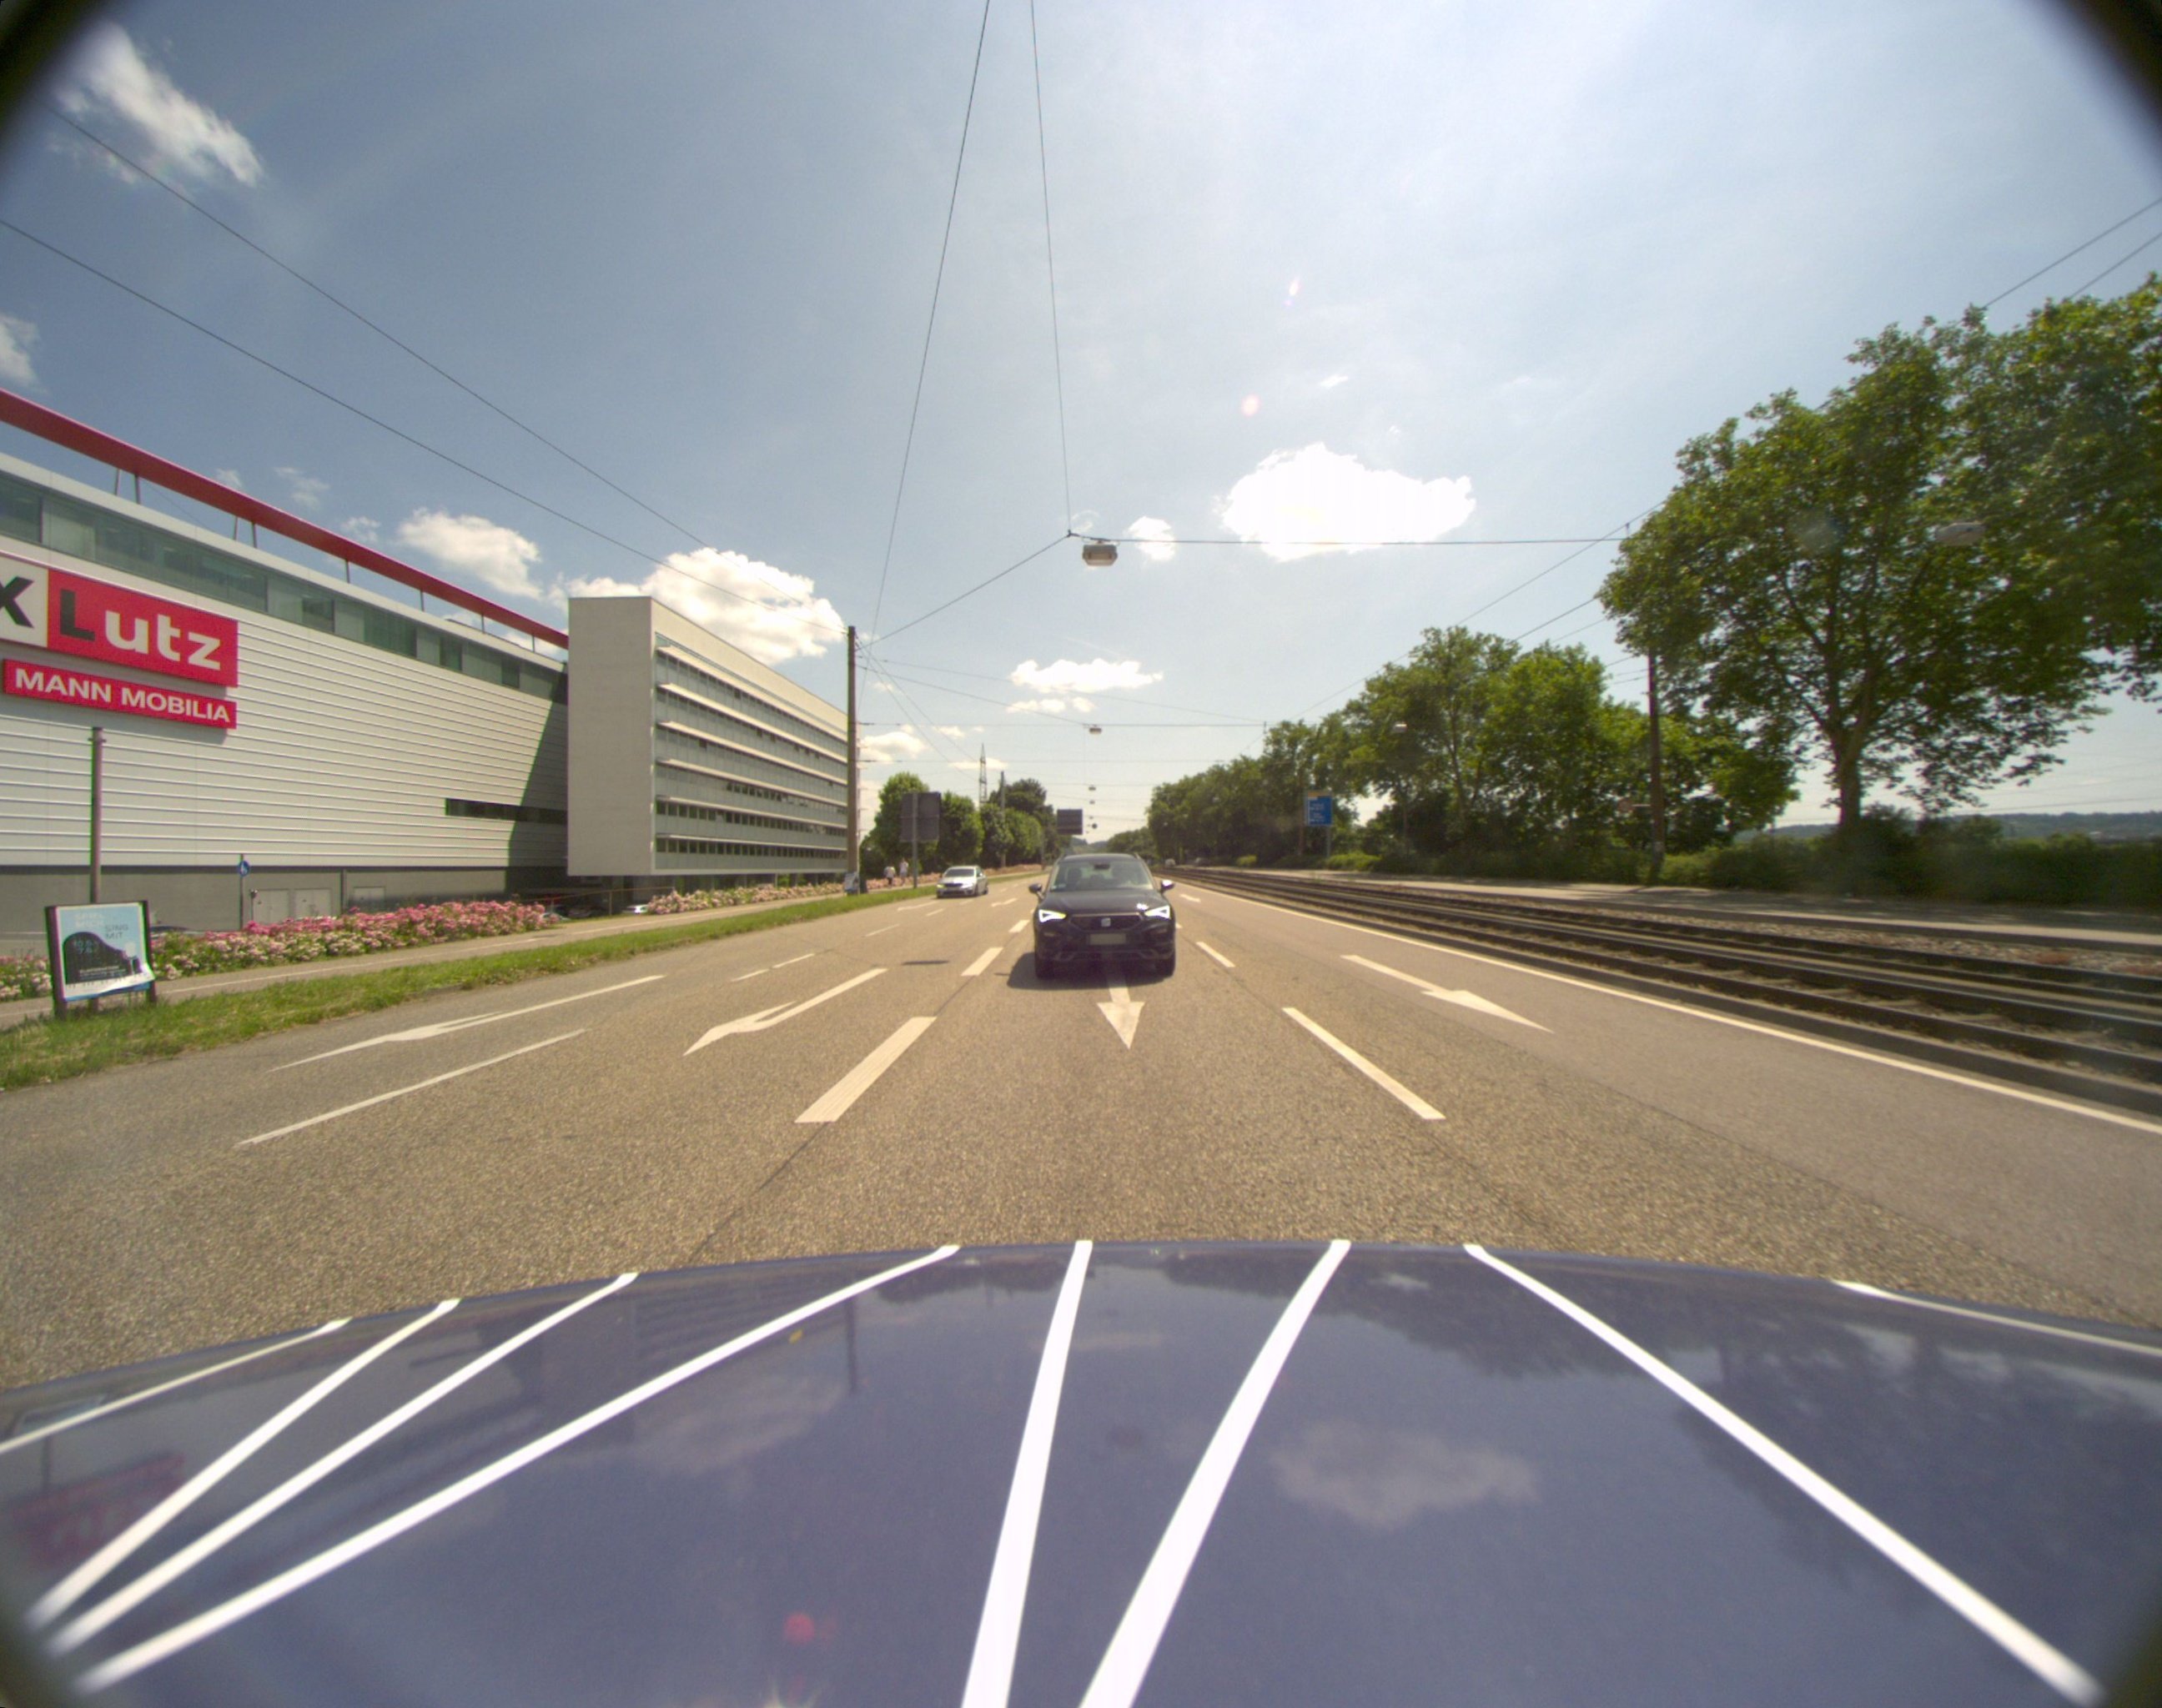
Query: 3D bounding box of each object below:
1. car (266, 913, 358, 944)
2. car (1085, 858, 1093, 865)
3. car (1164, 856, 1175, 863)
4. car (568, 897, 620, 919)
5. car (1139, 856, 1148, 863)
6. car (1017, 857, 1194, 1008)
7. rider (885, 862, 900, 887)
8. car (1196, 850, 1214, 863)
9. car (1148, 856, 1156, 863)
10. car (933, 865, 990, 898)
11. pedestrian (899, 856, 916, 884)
[{"bbox_3d":[-51.515,4.946,51.022,1.998,1.602,4.000,-2,0,0],"label":"car"},{"bbox_3d":[1.997,1.945,188.453,1.998,1.641,4.000,-2,0,1],"label":"car"},{"bbox_3d":[17.720,1.156,152.147,1.826,1.407,3.884,1,0,2],"label":"car"},{"bbox_3d":[-43.489,4.797,67.941,1.998,1.602,4.000,-2,0,0],"label":"car"},{"bbox_3d":[17.116,1.483,208.825,1.999,1.820,4.969,1,0,-1],"label":"car"},{"bbox_3d":[0.279,0.870,10.593,1.898,1.564,4.511,-2,0,0],"label":"car"},{"bbox_3d":[-11.252,1.197,45.371,0.671,1.449,0.618,-2,1,0],"label":"rider"},{"bbox_3d":[18.352,0.376,112.644,1.998,1.907,4.411,-2,0,1],"label":"car"},{"bbox_3d":[17.857,1.399,190.789,1.690,1.574,4.058,2,0,-1],"label":"car"},{"bbox_3d":[-5.472,1.232,35.254,1.896,1.331,4.000,-2,0,1],"label":"car"},{"bbox_3d":[-11.351,1.047,49.762,0.758,1.838,0.931,-2,1,3],"label":"pedestrian"}]
